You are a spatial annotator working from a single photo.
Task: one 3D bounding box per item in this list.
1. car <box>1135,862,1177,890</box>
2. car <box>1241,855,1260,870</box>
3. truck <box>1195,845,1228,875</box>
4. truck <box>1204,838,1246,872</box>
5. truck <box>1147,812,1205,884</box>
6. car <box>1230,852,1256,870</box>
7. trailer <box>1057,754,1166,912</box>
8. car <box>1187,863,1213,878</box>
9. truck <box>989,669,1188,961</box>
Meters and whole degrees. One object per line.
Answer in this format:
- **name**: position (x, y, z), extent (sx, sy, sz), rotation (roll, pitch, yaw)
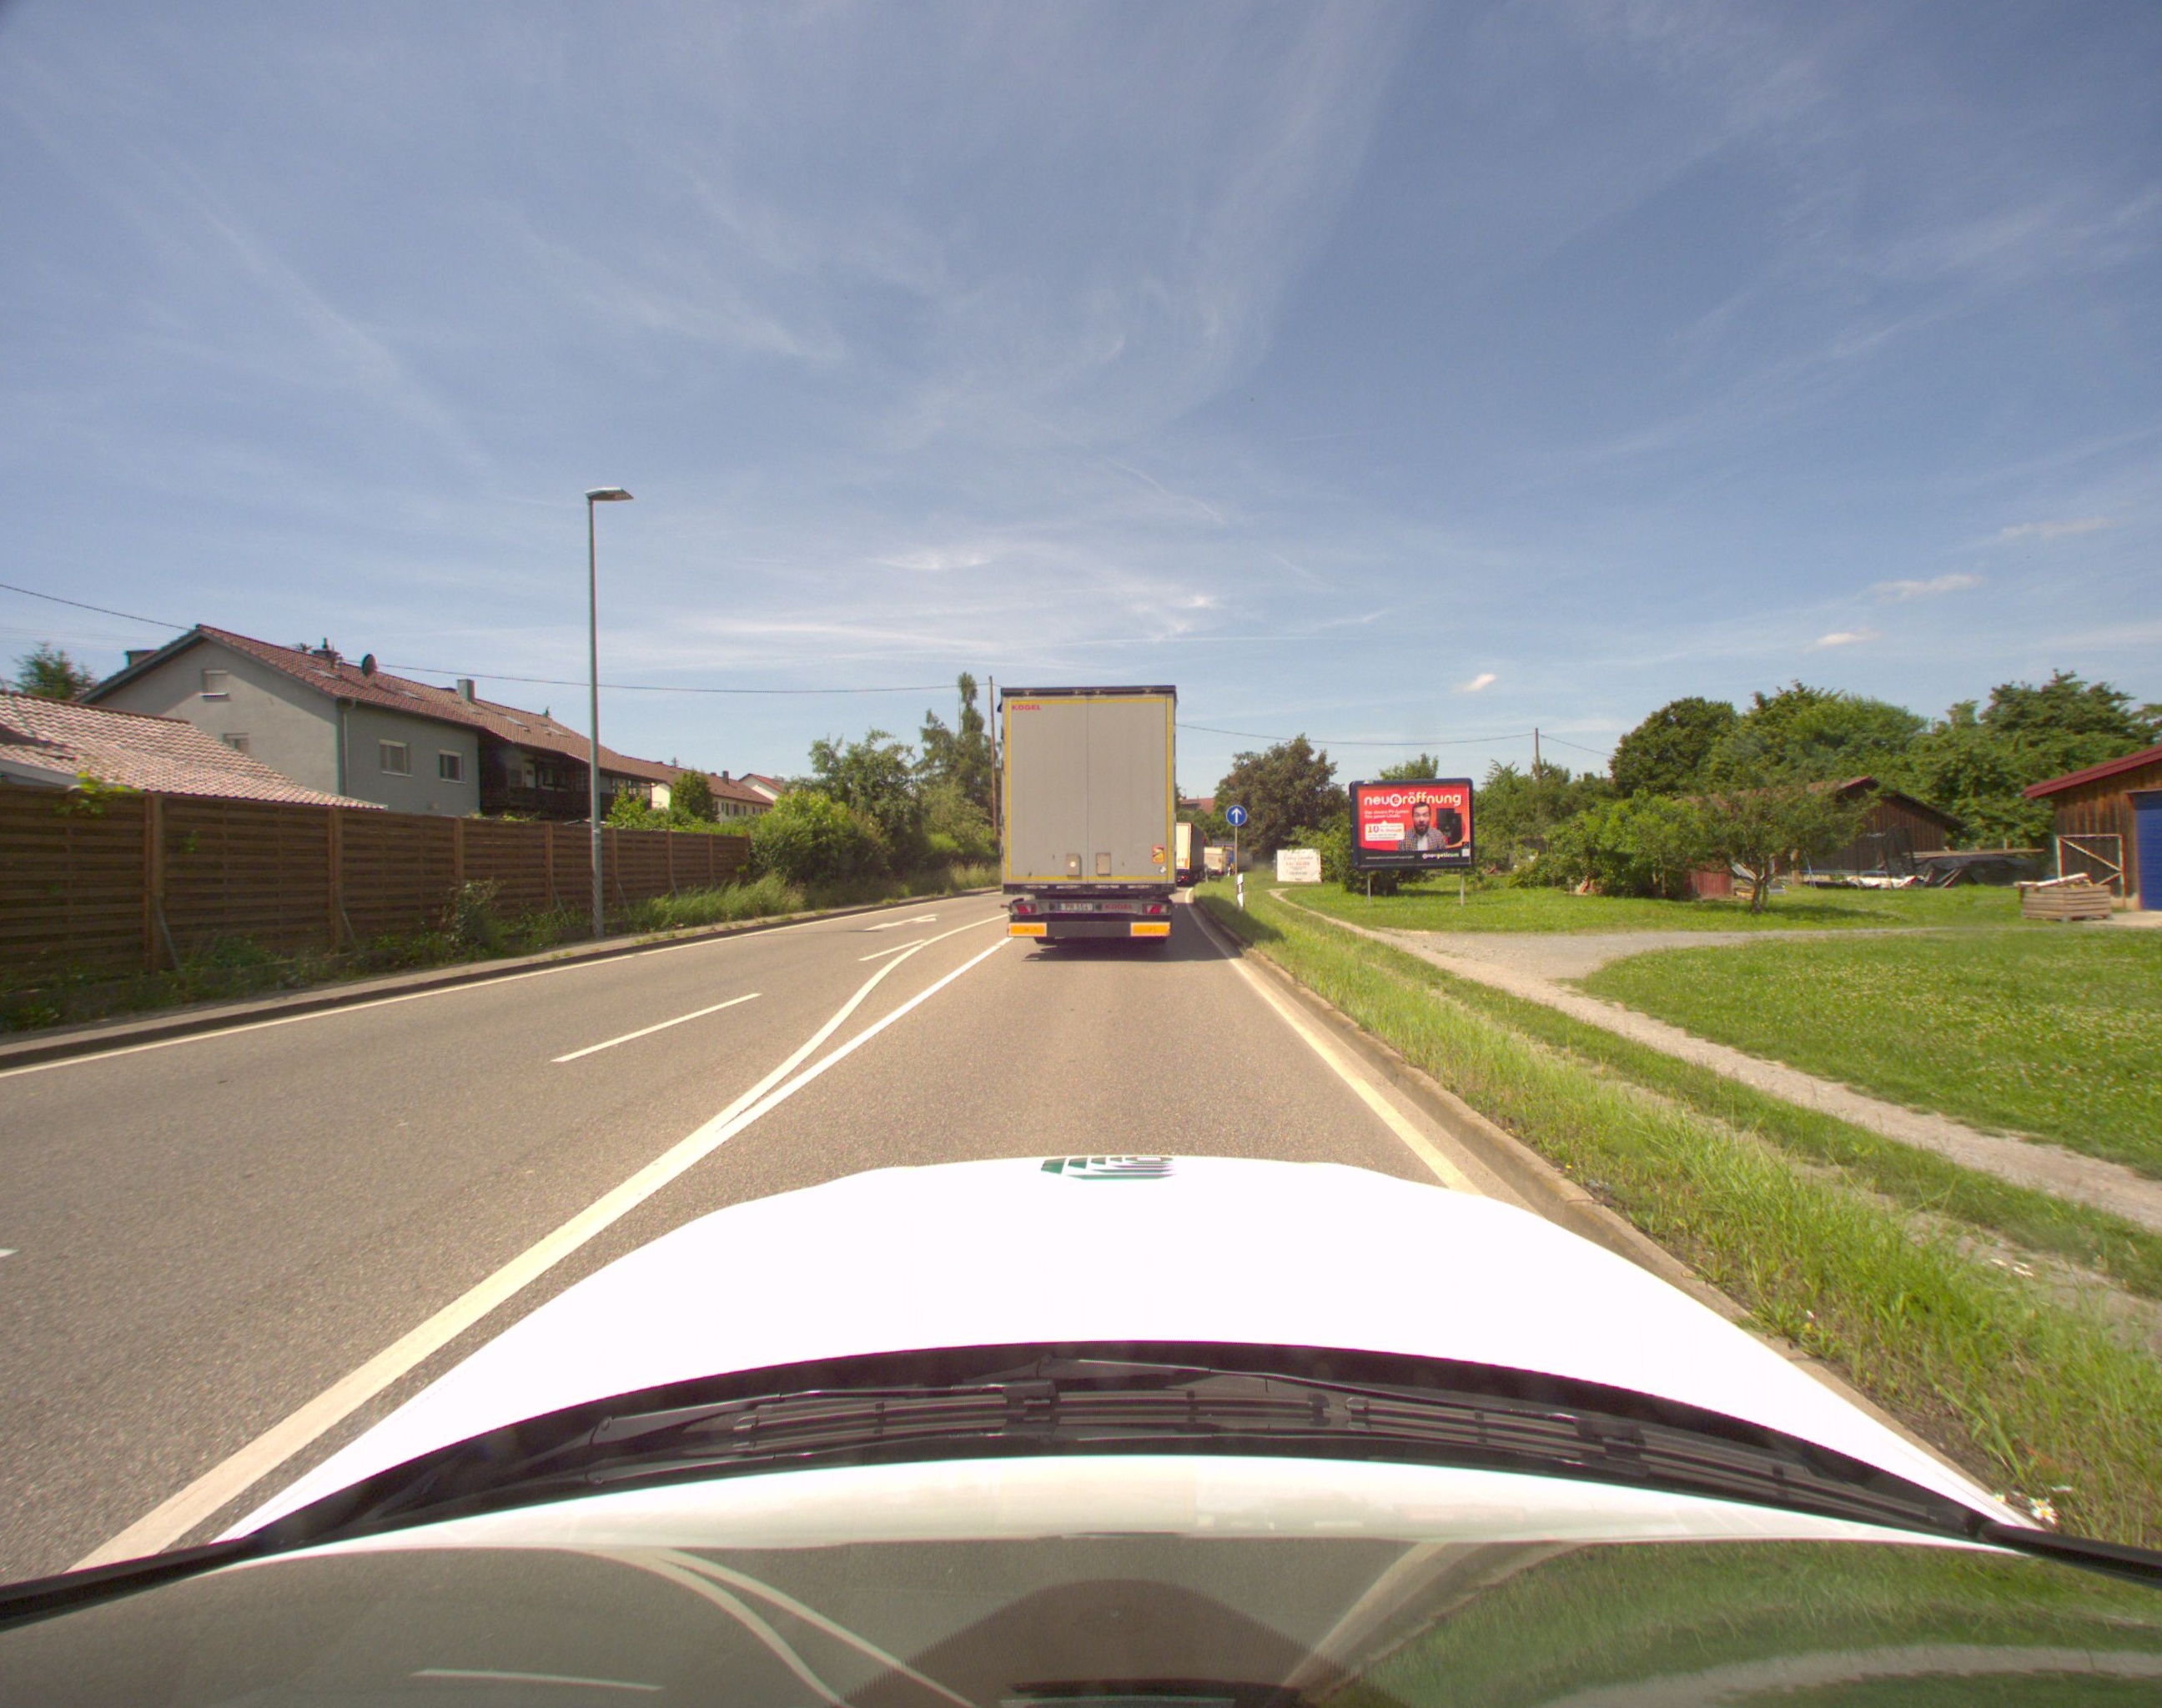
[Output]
- **car**: position (3.829, 1.108, 41.100), extent (1.808, 1.346, 3.857), rotation (0, -1, 9)
- **car**: position (22.632, 1.141, 108.613), extent (1.978, 2.014, 4.018), rotation (-1, -1, 17)
- **truck**: position (13.104, 0.636, 81.239), extent (2.524, 2.803, 6.057), rotation (0, -1, 16)
- **truck**: position (16.211, 0.077, 91.165), extent (3.406, 3.604, 9.395), rotation (0, 0, 17)
- **truck**: position (6.935, -0.228, 57.072), extent (2.743, 4.289, 16.463), rotation (0, -1, 11)
- **car**: position (20.339, 0.854, 102.275), extent (2.512, 2.277, 6.410), rotation (0, 0, 17)
- **trailer**: position (1.109, -0.551, 24.759), extent (2.811, 4.111, 6.554), rotation (-1, 0, 5)
- **car**: position (10.706, 1.476, 73.138), extent (1.979, 1.376, 4.014), rotation (0, -1, 14)
- **truck**: position (0.510, -0.551, 17.297), extent (2.809, 4.127, 11.456), rotation (0, 0, 4)
